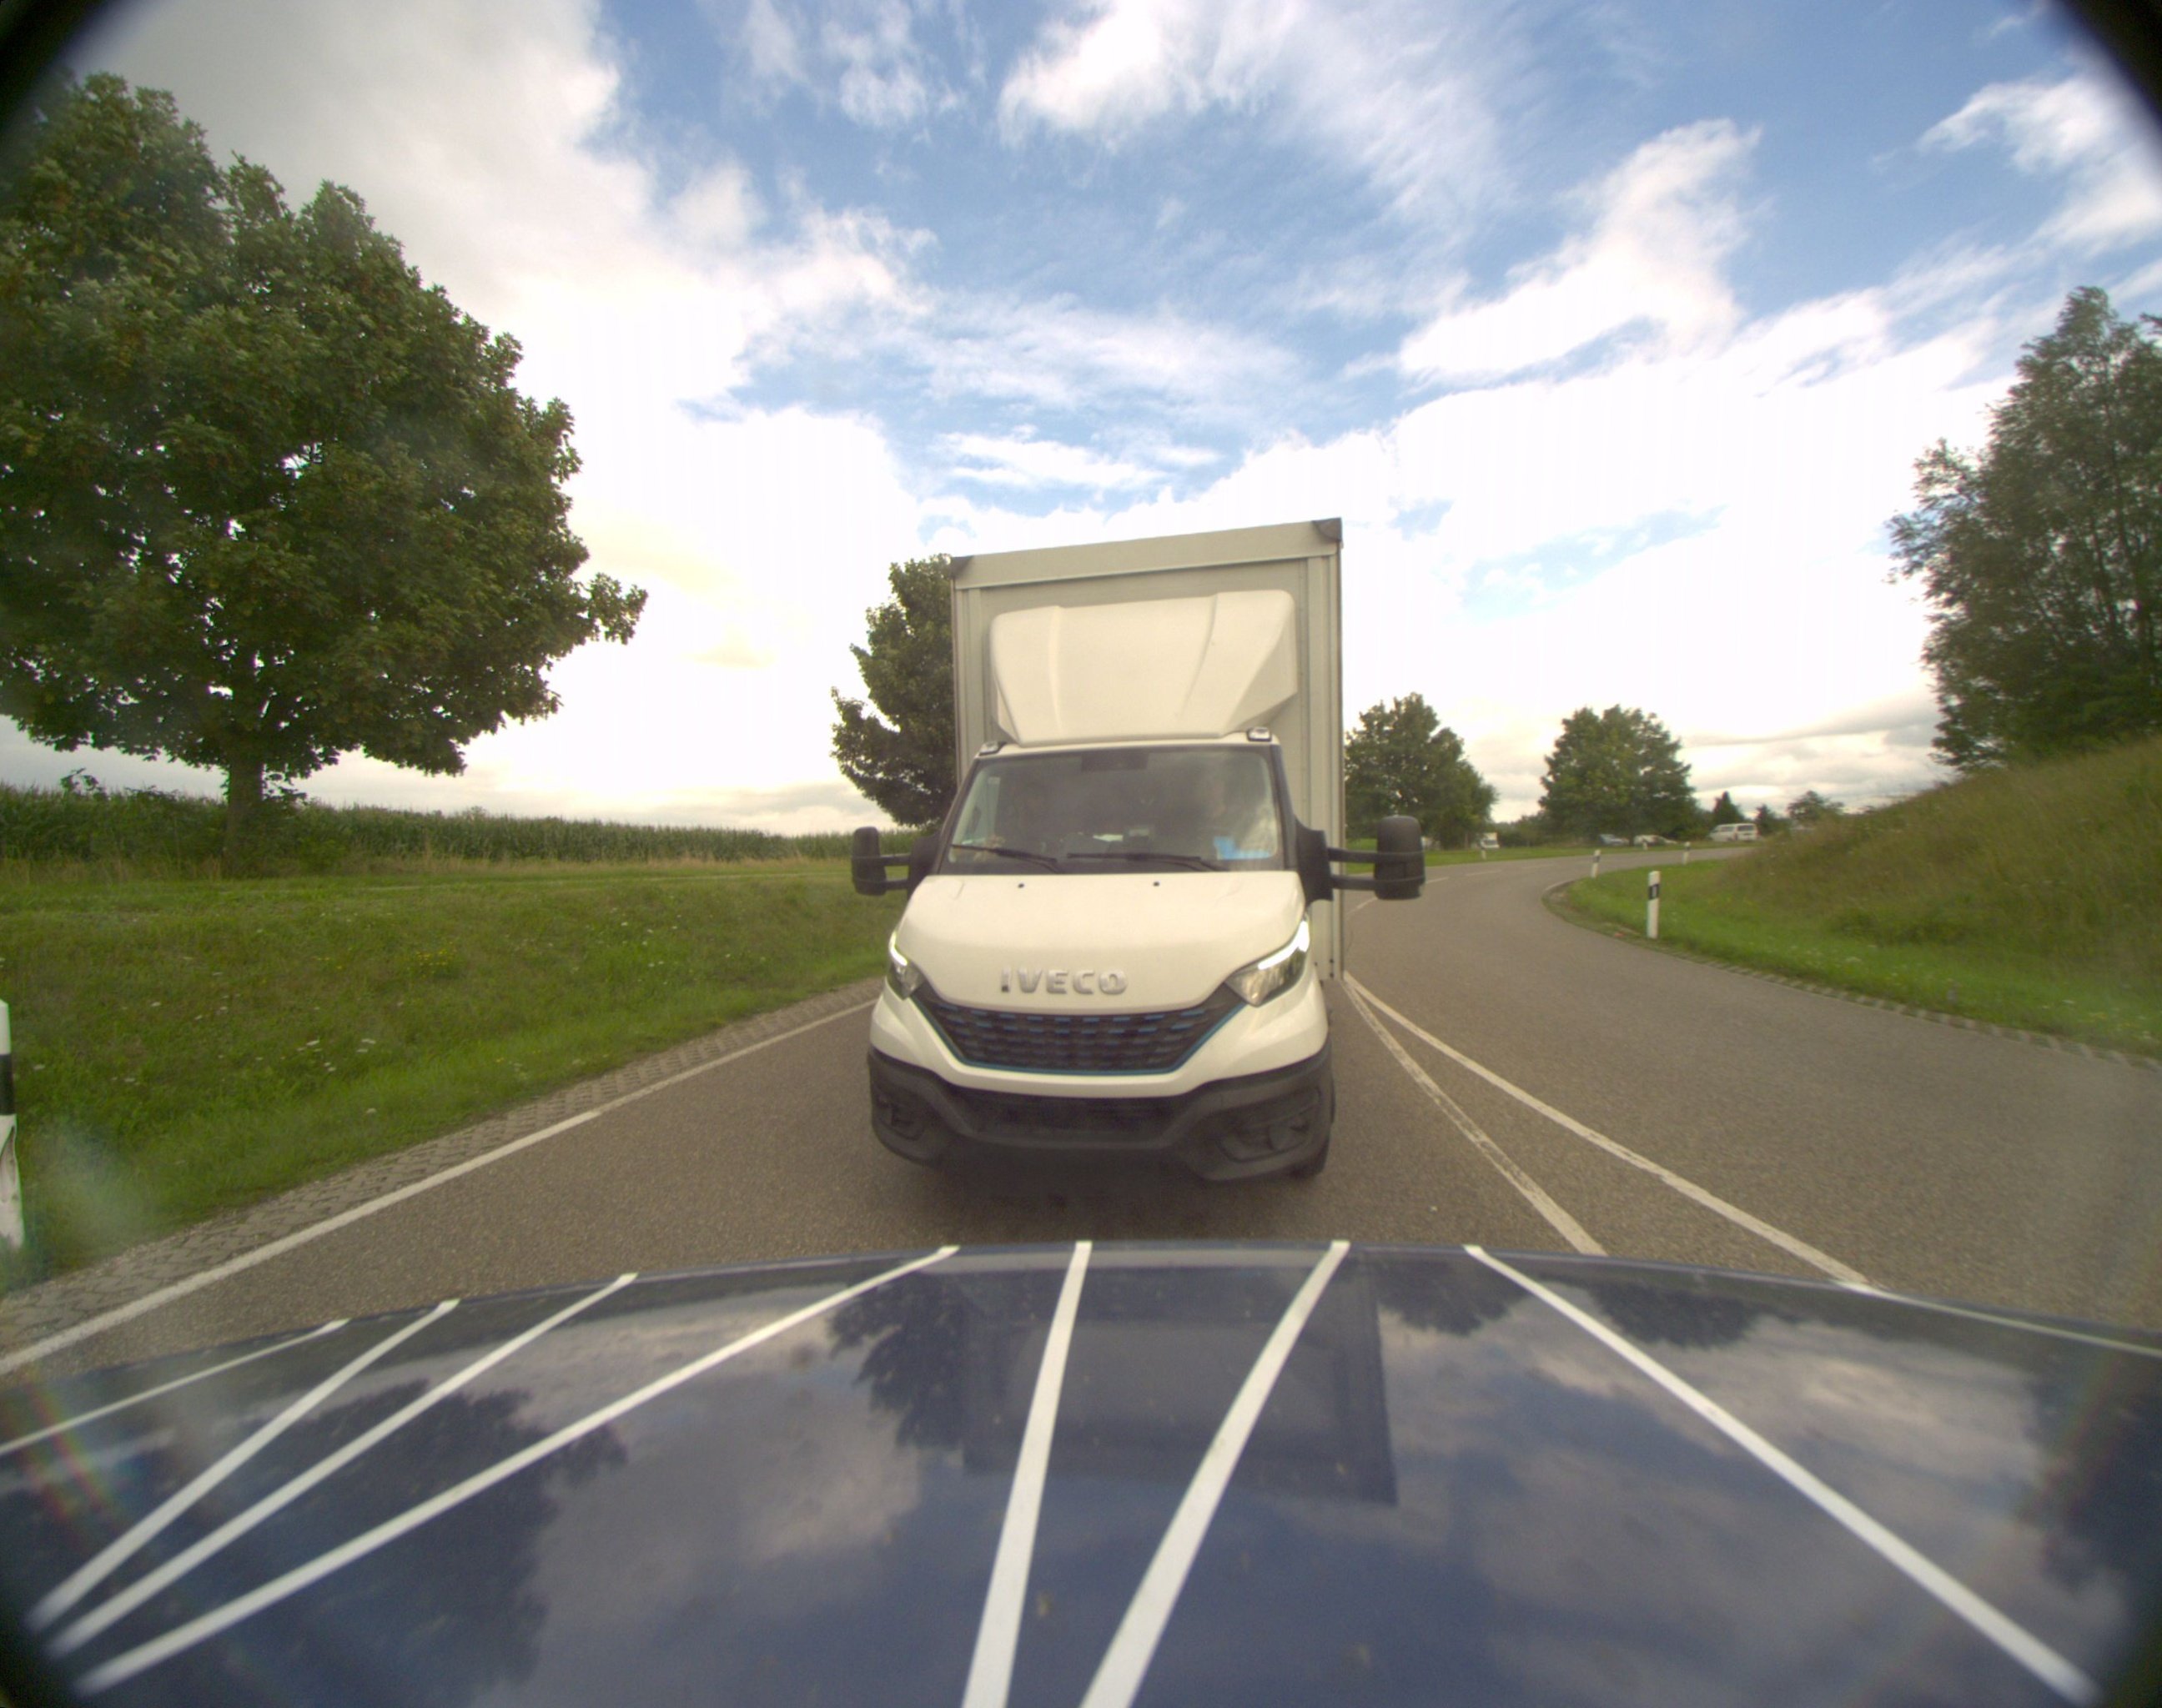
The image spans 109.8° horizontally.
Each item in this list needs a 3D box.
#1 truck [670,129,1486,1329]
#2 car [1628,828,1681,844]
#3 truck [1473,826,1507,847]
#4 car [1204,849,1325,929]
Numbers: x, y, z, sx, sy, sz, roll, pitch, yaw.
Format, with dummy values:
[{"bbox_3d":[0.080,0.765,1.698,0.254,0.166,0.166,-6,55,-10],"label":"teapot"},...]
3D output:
[{"bbox_3d":[0.704,-0.367,6.960,2.834,3.741,8.807,-1,0,11],"label":"truck"},{"bbox_3d":[64.692,-1.981,85.779,4.393,1.576,2.003,-2,0,27],"label":"car"},{"bbox_3d":[50.518,-2.174,93.966,2.288,2.407,6.389,-2,0,15],"label":"truck"},{"bbox_3d":[4.007,0.663,16.087,1.747,1.457,4.006,-2,0,24],"label":"car"}]
